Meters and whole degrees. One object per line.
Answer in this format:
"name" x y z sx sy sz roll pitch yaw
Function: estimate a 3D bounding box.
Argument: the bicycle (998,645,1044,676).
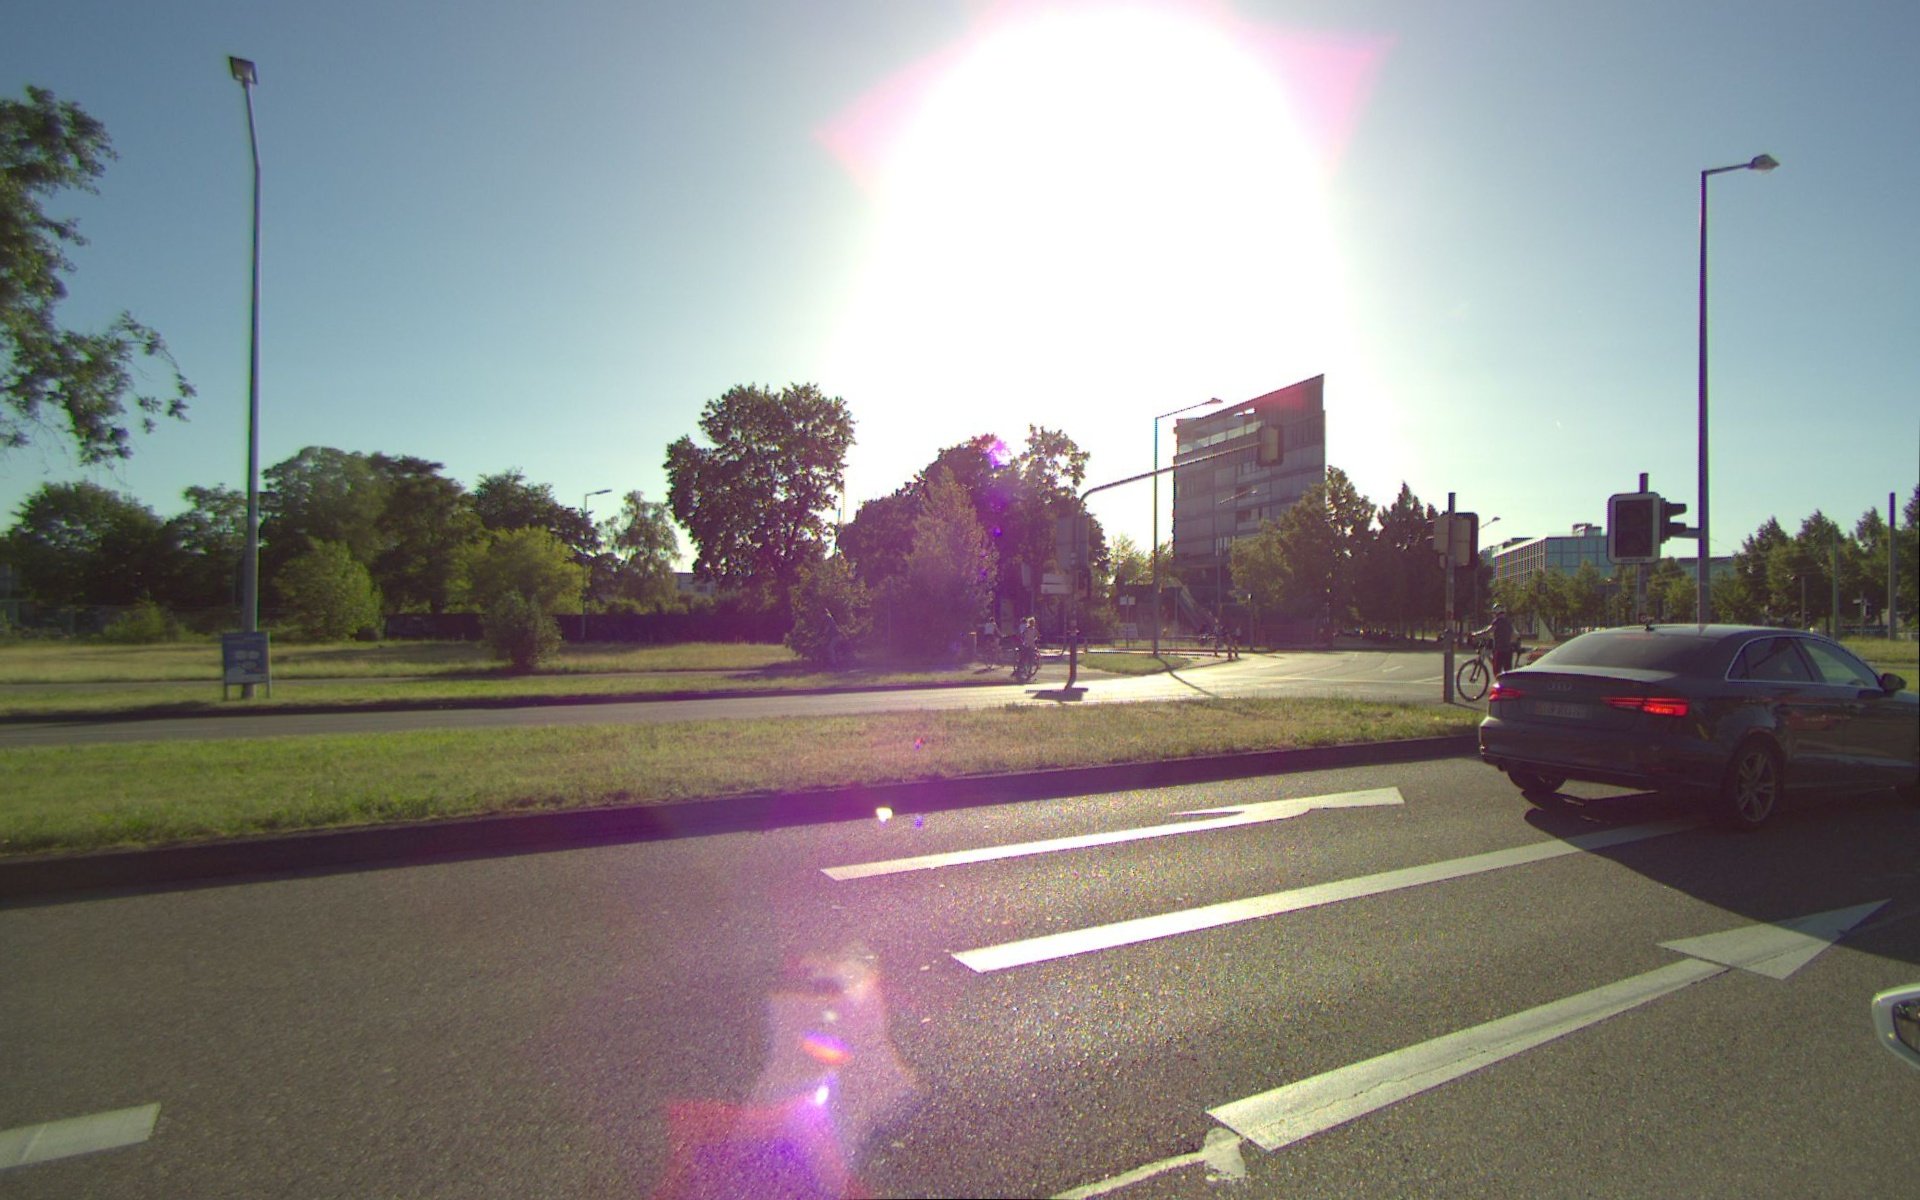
"bicycle" 1.808 1.794 30.128 0.608 0.864 1.878 0 -1 -23

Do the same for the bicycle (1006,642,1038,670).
"bicycle" 2.055 1.822 33.085 0.605 0.864 1.889 0 -1 17

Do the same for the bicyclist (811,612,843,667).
"bicyclist" -3.876 1.139 29.361 0.840 1.585 0.430 0 -1 -26

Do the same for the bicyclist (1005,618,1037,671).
"bicyclist" 1.832 1.323 30.089 0.608 1.537 0.920 0 -1 -23

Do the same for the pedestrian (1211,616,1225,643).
"pedestrian" 19.974 2.268 77.726 0.937 2.032 0.582 1 -1 -41

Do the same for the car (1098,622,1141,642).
"car" 15.015 3.038 94.760 3.695 1.829 1.826 1 -1 -27

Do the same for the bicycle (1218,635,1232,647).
"bicycle" 22.489 3.446 85.149 0.650 1.001 2.259 0 -1 28

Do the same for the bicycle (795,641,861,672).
"bicycle" -3.846 1.632 29.361 1.864 0.864 0.488 1 -1 -26

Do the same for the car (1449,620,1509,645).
"car" 33.409 2.066 64.657 4.291 1.561 1.986 1 -2 -41

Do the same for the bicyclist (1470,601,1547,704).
"bicyclist" 9.239 0.867 16.932 0.698 1.685 0.932 2 -1 -39

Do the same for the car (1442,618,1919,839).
"car" 6.169 0.886 8.170 4.300 1.398 1.755 1 -1 -25

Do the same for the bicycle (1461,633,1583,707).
"bicycle" 9.365 1.139 16.780 0.698 1.143 1.637 2 -2 -39

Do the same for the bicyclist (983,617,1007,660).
"bicyclist" 1.163 1.259 33.429 0.605 1.411 0.838 0 -1 18

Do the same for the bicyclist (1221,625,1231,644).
"bicyclist" 22.521 2.904 85.166 0.650 1.601 0.834 0 -1 28

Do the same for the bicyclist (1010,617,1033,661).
"bicyclist" 2.037 1.282 33.086 0.605 1.411 0.719 0 -1 18

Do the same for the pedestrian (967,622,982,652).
"pedestrian" 1.006 2.483 67.460 0.802 2.040 0.902 1 -2 13

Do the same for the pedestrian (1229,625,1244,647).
"pedestrian" 20.947 2.724 76.148 0.872 1.651 0.757 -1 -1 41

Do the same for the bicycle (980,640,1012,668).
"bicycle" 1.207 1.799 33.504 0.605 0.864 1.889 0 -1 17
